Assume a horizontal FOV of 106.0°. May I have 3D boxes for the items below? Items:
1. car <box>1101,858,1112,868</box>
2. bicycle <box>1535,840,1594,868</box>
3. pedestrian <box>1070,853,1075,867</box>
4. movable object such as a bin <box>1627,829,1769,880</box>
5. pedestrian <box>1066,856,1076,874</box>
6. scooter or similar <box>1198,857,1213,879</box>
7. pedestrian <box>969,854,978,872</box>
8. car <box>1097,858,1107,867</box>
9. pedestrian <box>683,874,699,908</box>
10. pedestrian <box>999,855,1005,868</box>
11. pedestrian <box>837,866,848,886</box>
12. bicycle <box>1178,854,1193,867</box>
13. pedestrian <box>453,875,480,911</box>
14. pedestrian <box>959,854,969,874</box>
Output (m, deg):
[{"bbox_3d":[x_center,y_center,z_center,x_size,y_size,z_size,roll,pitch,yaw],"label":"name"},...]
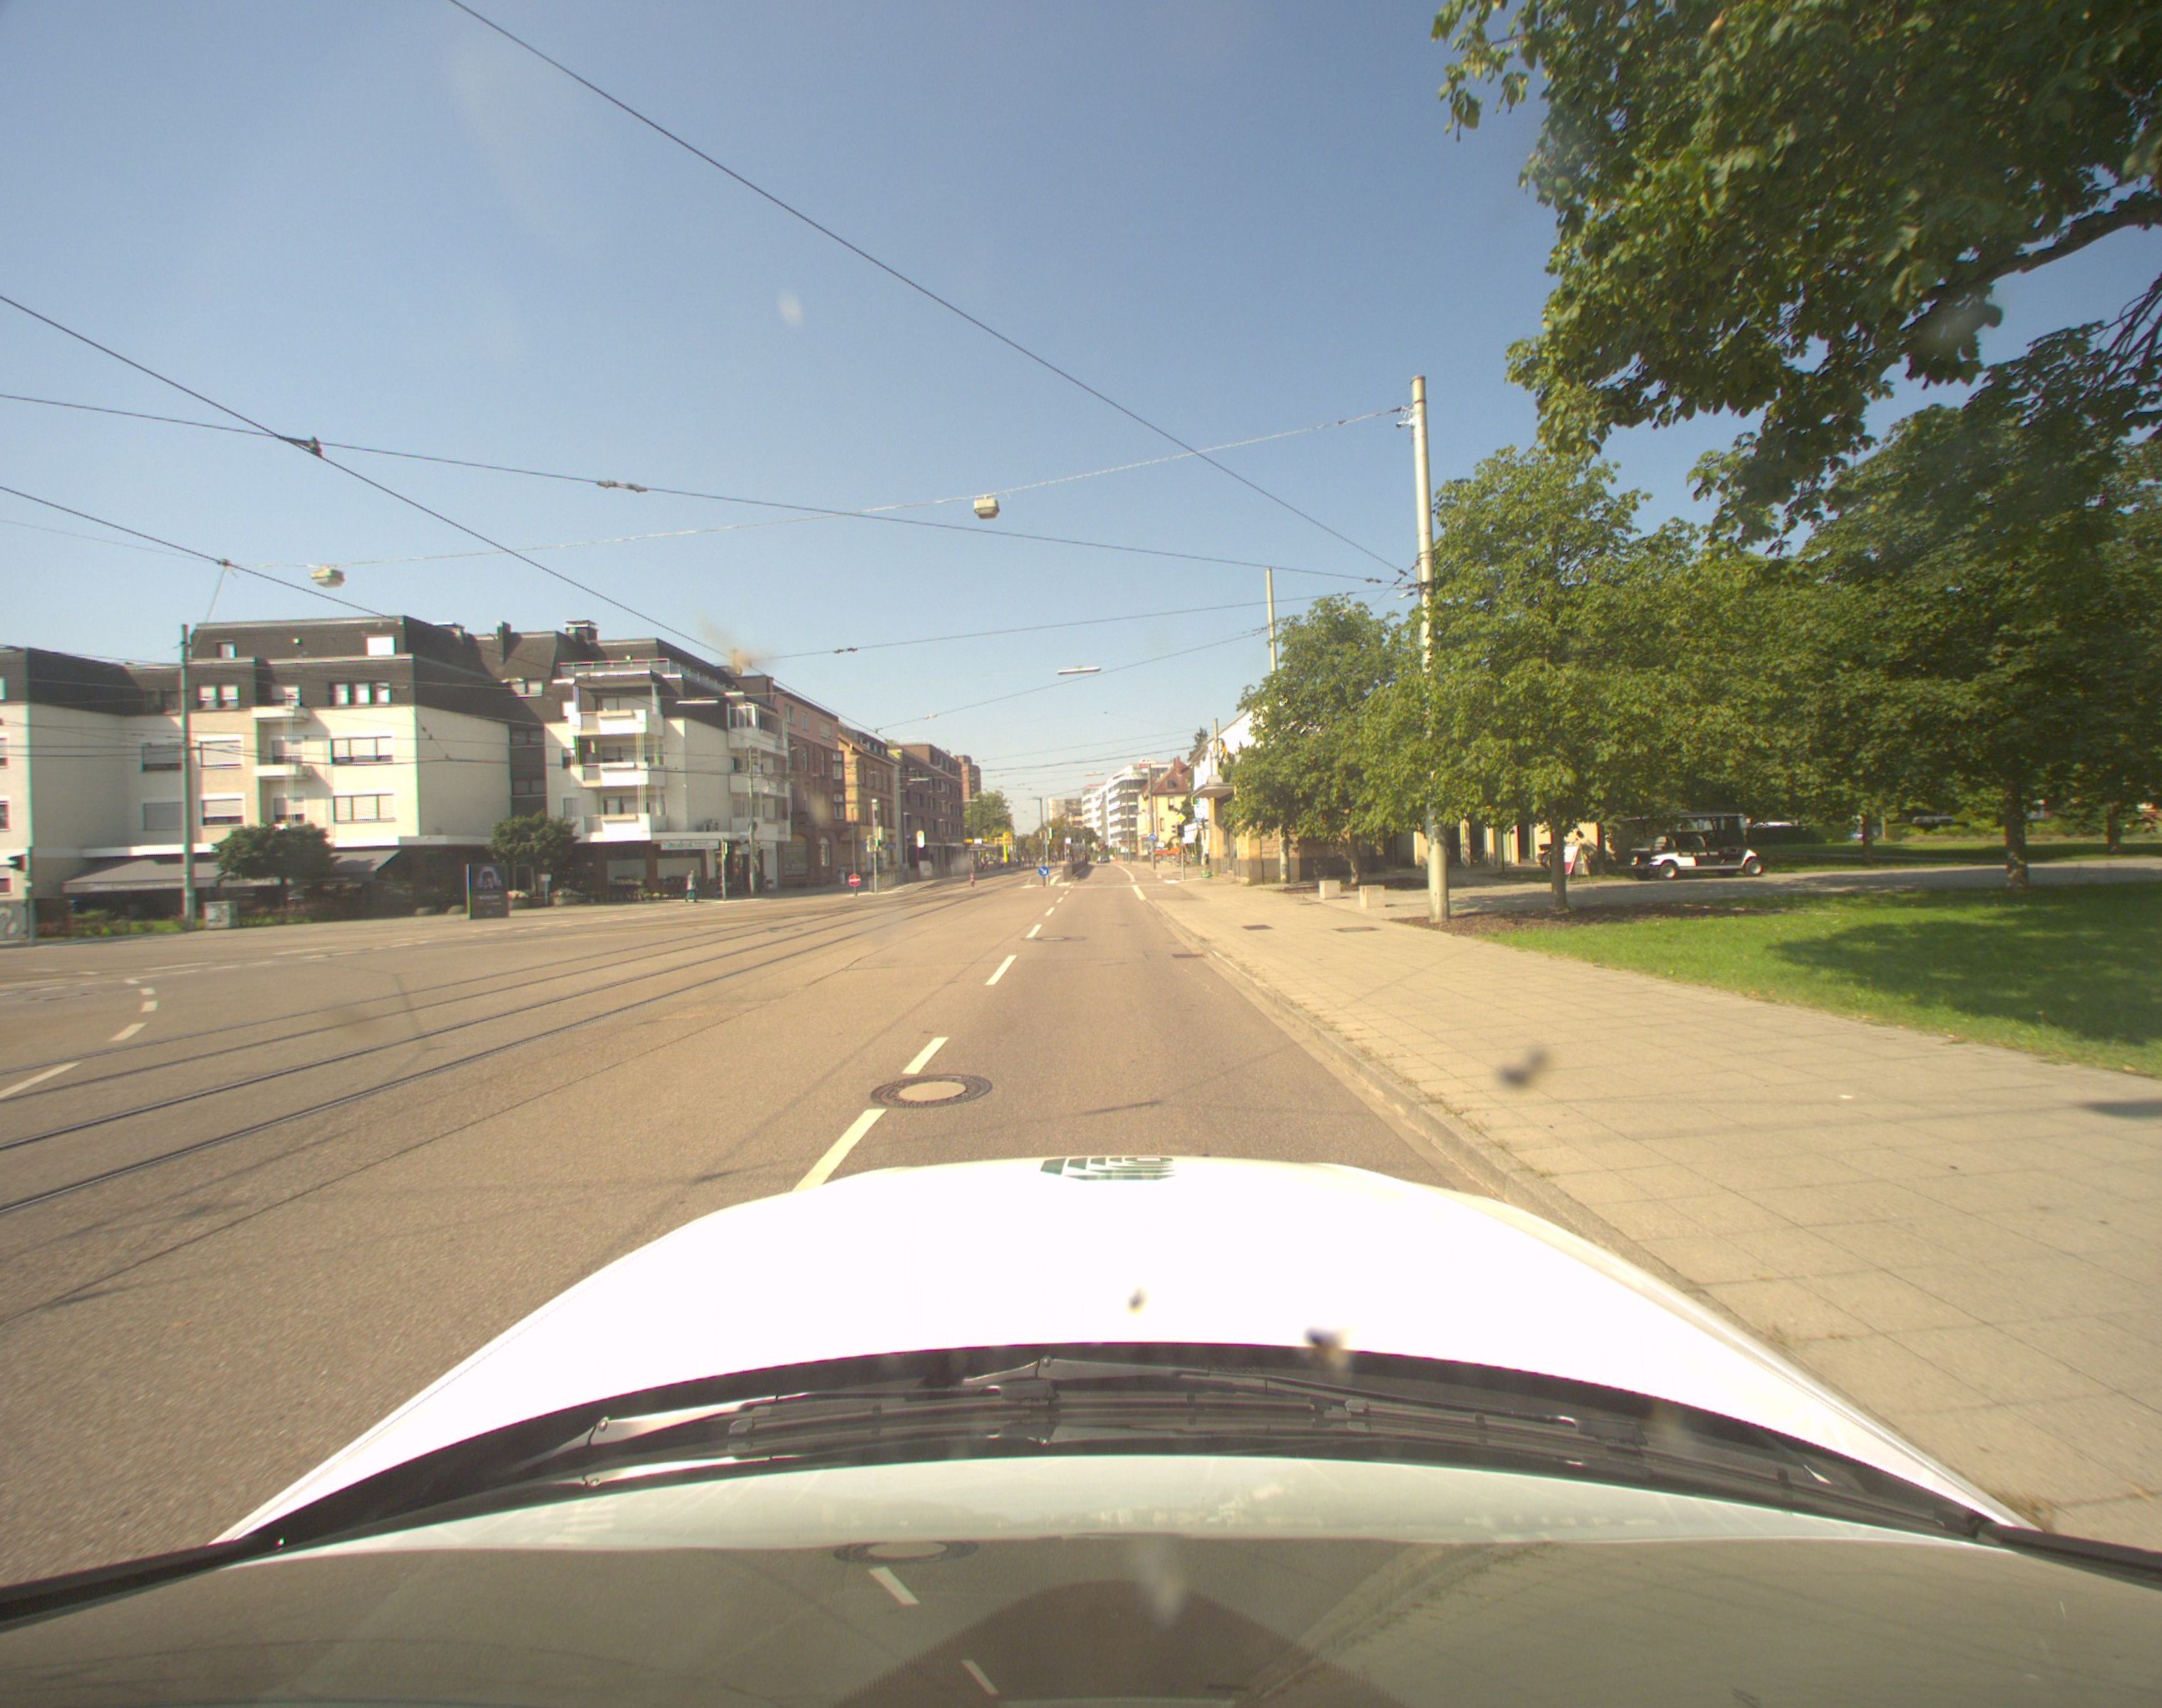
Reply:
[{"bbox_3d":[5.129,1.751,165.480,2.003,1.859,4.003,-4,0,3],"label":"car"},{"bbox_3d":[17.997,-0.003,30.344,1.897,0.980,0.427,-2,0,1],"label":"bicycle"},{"bbox_3d":[-1.020,0.749,98.616,0.535,1.703,0.582,-4,-1,-1],"label":"pedestrian"},{"bbox_3d":[17.869,0.018,23.647,3.095,1.298,1.301,-3,0,0],"label":"movable object such as a bin"},{"bbox_3d":[-0.954,1.027,77.120,0.717,1.703,0.885,-4,-1,2],"label":"pedestrian"},{"bbox_3d":[6.737,0.748,44.139,0.521,1.133,1.512,-4,-1,2],"label":"scooter or similar"},{"bbox_3d":[-10.704,0.881,81.191,0.705,1.747,0.799,-4,-1,2],"label":"pedestrian"},{"bbox_3d":[4.460,1.776,171.558,2.003,1.859,4.003,-4,0,3],"label":"car"},{"bbox_3d":[-20.615,1.943,43.066,0.602,1.745,0.560,-4,-1,-32],"label":"pedestrian"},{"bbox_3d":[-9.336,0.927,96.178,0.531,1.530,0.700,-4,-1,-5],"label":"pedestrian"},{"bbox_3d":[-18.810,1.708,64.223,0.479,1.560,0.890,-2,-1,13],"label":"pedestrian"},{"bbox_3d":[9.630,0.582,75.237,0.730,1.132,2.834,-6,0,-5],"label":"bicycle"},{"bbox_3d":[-30.592,1.932,40.533,0.677,1.741,0.698,-4,-1,3],"label":"pedestrian"},{"bbox_3d":[-10.713,0.912,74.468,0.705,1.723,0.799,-4,-1,2],"label":"pedestrian"}]
